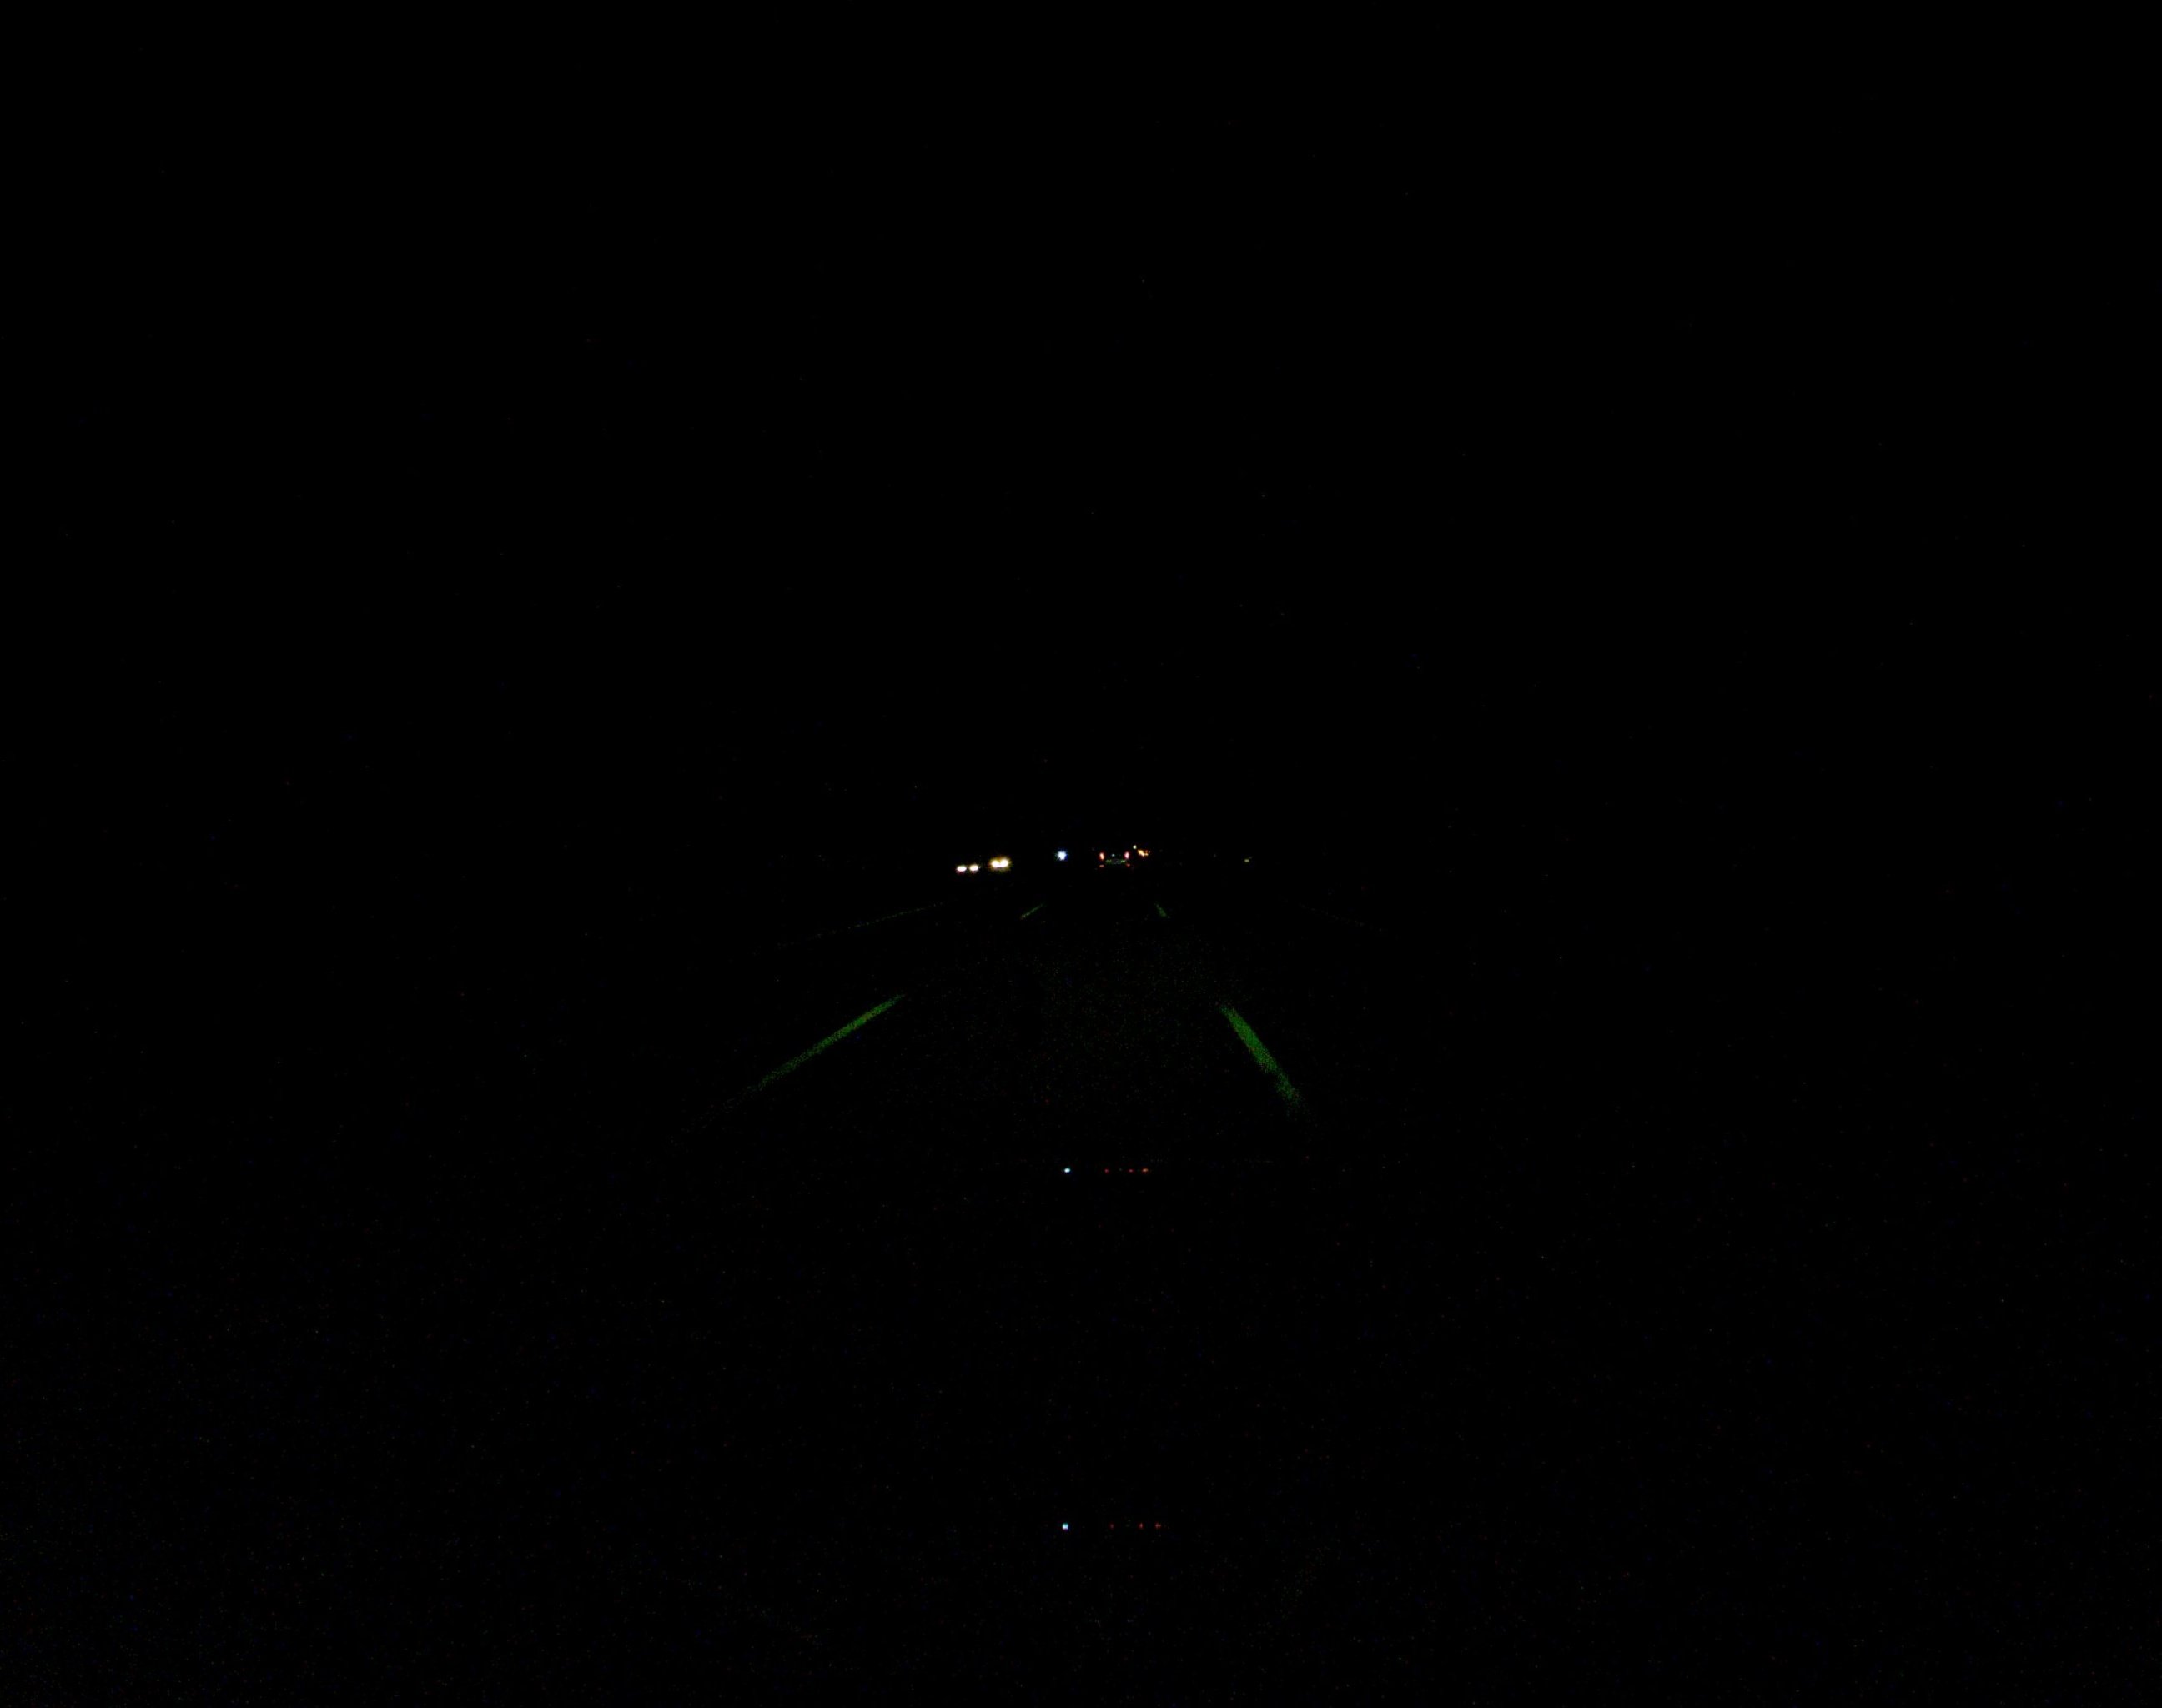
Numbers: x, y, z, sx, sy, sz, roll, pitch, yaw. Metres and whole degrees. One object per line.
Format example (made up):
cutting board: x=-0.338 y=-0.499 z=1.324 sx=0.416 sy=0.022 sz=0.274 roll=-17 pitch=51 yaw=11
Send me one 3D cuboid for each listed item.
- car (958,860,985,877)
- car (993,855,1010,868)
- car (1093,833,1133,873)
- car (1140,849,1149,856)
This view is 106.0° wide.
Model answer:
car: x=-11.579 y=1.547 z=86.336 sx=1.925 sy=1.604 sz=4.956 roll=-3 pitch=0 yaw=2
car: x=-13.196 y=1.255 z=135.682 sx=2.020 sy=1.968 sz=5.399 roll=-3 pitch=0 yaw=2
car: x=2.396 y=-0.044 z=60.795 sx=2.775 sy=2.733 sz=6.303 roll=-2 pitch=0 yaw=2
car: x=14.674 y=-0.375 z=188.063 sx=1.836 sy=1.640 sz=4.002 roll=-2 pitch=0 yaw=2
